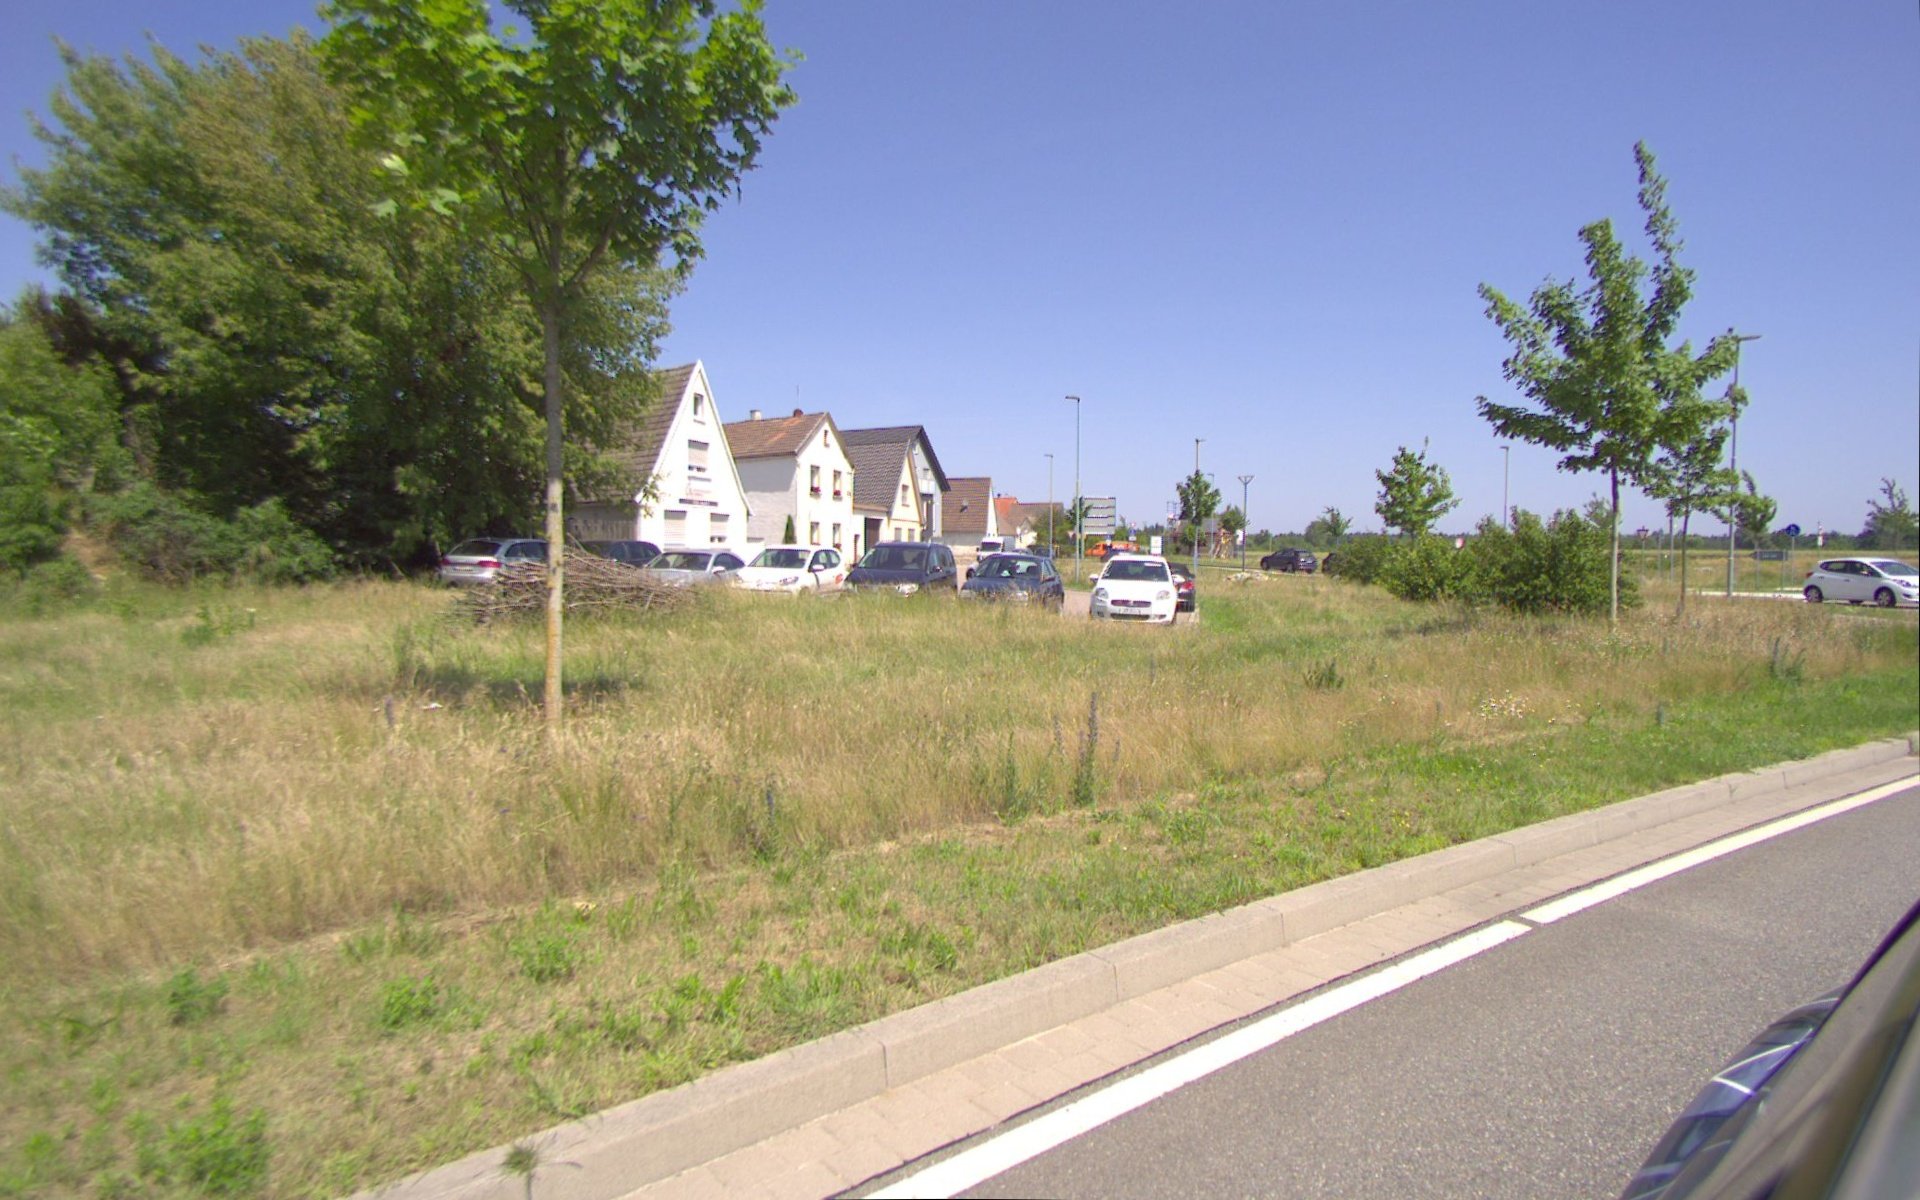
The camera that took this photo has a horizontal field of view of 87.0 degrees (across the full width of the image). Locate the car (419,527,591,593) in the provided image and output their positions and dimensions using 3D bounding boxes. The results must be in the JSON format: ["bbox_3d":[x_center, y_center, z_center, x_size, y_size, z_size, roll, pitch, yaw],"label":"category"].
[{"bbox_3d":[-10.860,-0.930,24.465,1.748,1.460,3.950,1,1,14],"label":"car"}]

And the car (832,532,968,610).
[{"bbox_3d":[-1.143,-0.604,21.288,1.748,1.460,3.950,1,1,14],"label":"car"}]

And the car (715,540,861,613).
[{"bbox_3d":[-3.674,-0.522,22.381,1.748,1.460,3.950,1,1,14],"label":"car"}]

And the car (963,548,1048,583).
[{"bbox_3d":[1.940,-1.545,44.246,1.619,1.409,4.002,-2,3,-34],"label":"car"}]

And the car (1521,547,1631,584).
[{"bbox_3d":[27.936,-1.601,46.044,1.686,1.580,4.162,-2,3,-17],"label":"car"}]

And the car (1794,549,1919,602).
[{"bbox_3d":[30.851,-0.874,33.875,1.832,1.580,4.528,-1,3,-5],"label":"car"}]

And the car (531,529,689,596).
[{"bbox_3d":[-8.245,-0.880,24.210,1.748,1.460,3.950,1,1,14],"label":"car"}]

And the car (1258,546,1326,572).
[{"bbox_3d":[22.862,-2.800,69.954,1.913,1.669,4.901,-2,2,-18],"label":"car"}]

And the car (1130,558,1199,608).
[{"bbox_3d":[6.028,-0.566,30.131,1.718,1.327,3.994,1,3,8],"label":"car"}]

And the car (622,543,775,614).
[{"bbox_3d":[-5.822,-0.503,23.010,1.747,1.460,3.951,1,1,13],"label":"car"}]

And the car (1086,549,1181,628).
[{"bbox_3d":[3.627,-0.322,20.709,1.720,1.445,3.987,1,3,12],"label":"car"}]

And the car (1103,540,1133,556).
[{"bbox_3d":[15.856,-5.215,101.665,1.860,1.636,4.008,0,3,-8],"label":"car"}]

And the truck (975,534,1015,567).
[{"bbox_3d":[2.892,-3.985,81.608,2.203,2.536,5.617,1,3,13],"label":"truck"}]

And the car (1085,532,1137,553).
[{"bbox_3d":[19.019,-7.211,127.191,6.077,2.615,2.335,2,3,27],"label":"car"}]

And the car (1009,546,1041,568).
[{"bbox_3d":[4.761,-3.142,73.738,1.825,1.514,3.990,1,3,10],"label":"car"}]

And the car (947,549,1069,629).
[{"bbox_3d":[1.091,-0.257,20.743,1.748,1.460,3.950,1,1,14],"label":"car"}]

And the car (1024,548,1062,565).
[{"bbox_3d":[6.907,-3.577,83.598,1.837,1.367,3.733,2,3,28],"label":"car"}]
